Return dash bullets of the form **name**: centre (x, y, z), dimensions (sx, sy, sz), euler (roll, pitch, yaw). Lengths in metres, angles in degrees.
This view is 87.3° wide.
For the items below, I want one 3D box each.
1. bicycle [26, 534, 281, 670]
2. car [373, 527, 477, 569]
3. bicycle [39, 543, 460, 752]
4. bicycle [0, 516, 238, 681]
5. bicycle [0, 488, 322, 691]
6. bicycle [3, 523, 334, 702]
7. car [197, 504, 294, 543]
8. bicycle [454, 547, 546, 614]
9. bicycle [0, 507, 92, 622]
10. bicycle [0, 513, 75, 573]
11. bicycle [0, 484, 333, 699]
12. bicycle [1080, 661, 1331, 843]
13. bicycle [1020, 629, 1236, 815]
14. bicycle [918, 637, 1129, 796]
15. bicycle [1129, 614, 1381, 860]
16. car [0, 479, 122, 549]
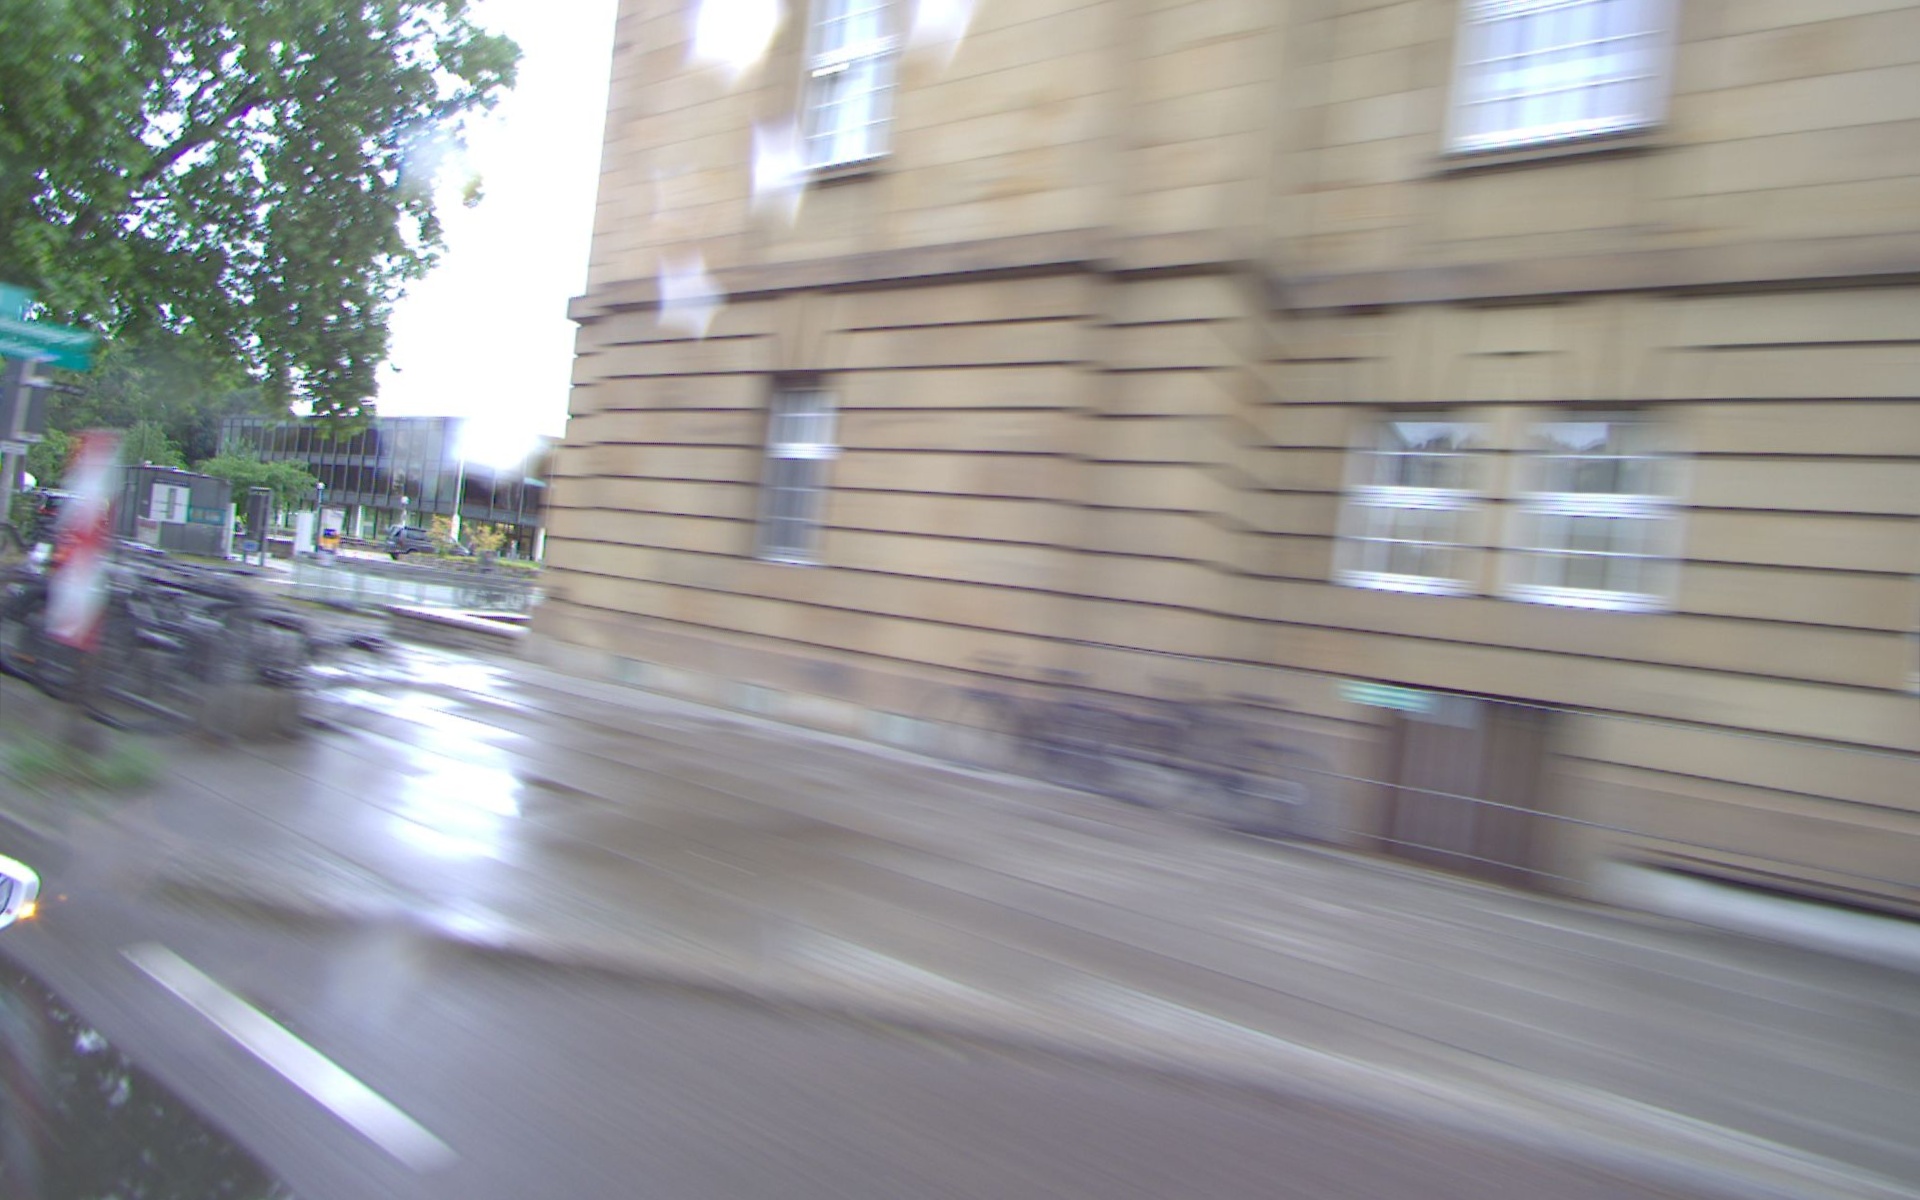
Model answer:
- **bicycle**: centre (-7.003, 0.054, 8.815), dimensions (0.516, 1.006, 1.591), euler (7, -1, 34)
- **car**: centre (-32.868, -3.171, 61.961), dimensions (2.419, 1.785, 5.015), euler (7, -1, 30)
- **bicycle**: centre (-4.389, 0.324, 6.417), dimensions (0.746, 1.073, 1.989), euler (7, -1, 29)
- **bicycle**: centre (-6.764, 0.007, 7.826), dimensions (0.592, 1.136, 1.680), euler (7, -1, 34)
- **bicycle**: centre (-6.303, -0.032, 7.718), dimensions (0.640, 1.352, 2.193), euler (7, -1, 34)
- **bicycle**: centre (-5.615, 0.135, 7.243), dimensions (0.640, 1.103, 1.680), euler (7, -1, 34)
- **car**: centre (-39.073, -4.166, 55.119), dimensions (1.631, 1.621, 3.984), euler (7, 2, 35)
- **bicycle**: centre (-13.253, -0.534, 29.047), dimensions (0.761, 1.686, 2.322), euler (5, -2, 26)
- **bicycle**: centre (-10.796, -0.436, 11.794), dimensions (1.877, 1.213, 0.604), euler (6, 1, 40)
- **bicycle**: centre (-19.044, -1.191, 20.270), dimensions (0.566, 1.031, 1.642), euler (6, -3, 37)
- **bicycle**: centre (-5.916, -0.002, 7.484), dimensions (0.640, 1.348, 1.908), euler (7, -2, 34)
- **bicycle**: centre (1.862, 1.127, 7.789), dimensions (1.760, 1.093, 0.352), euler (6, -1, 32)
- **bicycle**: centre (1.372, 0.977, 8.352), dimensions (1.573, 1.265, 0.454), euler (7, -1, 31)
- **bicycle**: centre (0.509, 0.954, 8.608), dimensions (1.760, 1.094, 0.352), euler (6, 1, 32)
- **bicycle**: centre (2.179, 0.966, 7.507), dimensions (1.573, 1.533, 0.454), euler (7, -1, 31)
- **car**: centre (-29.025, -2.795, 32.022), dimensions (5.149, 1.629, 1.996), euler (8, 0, 32)
